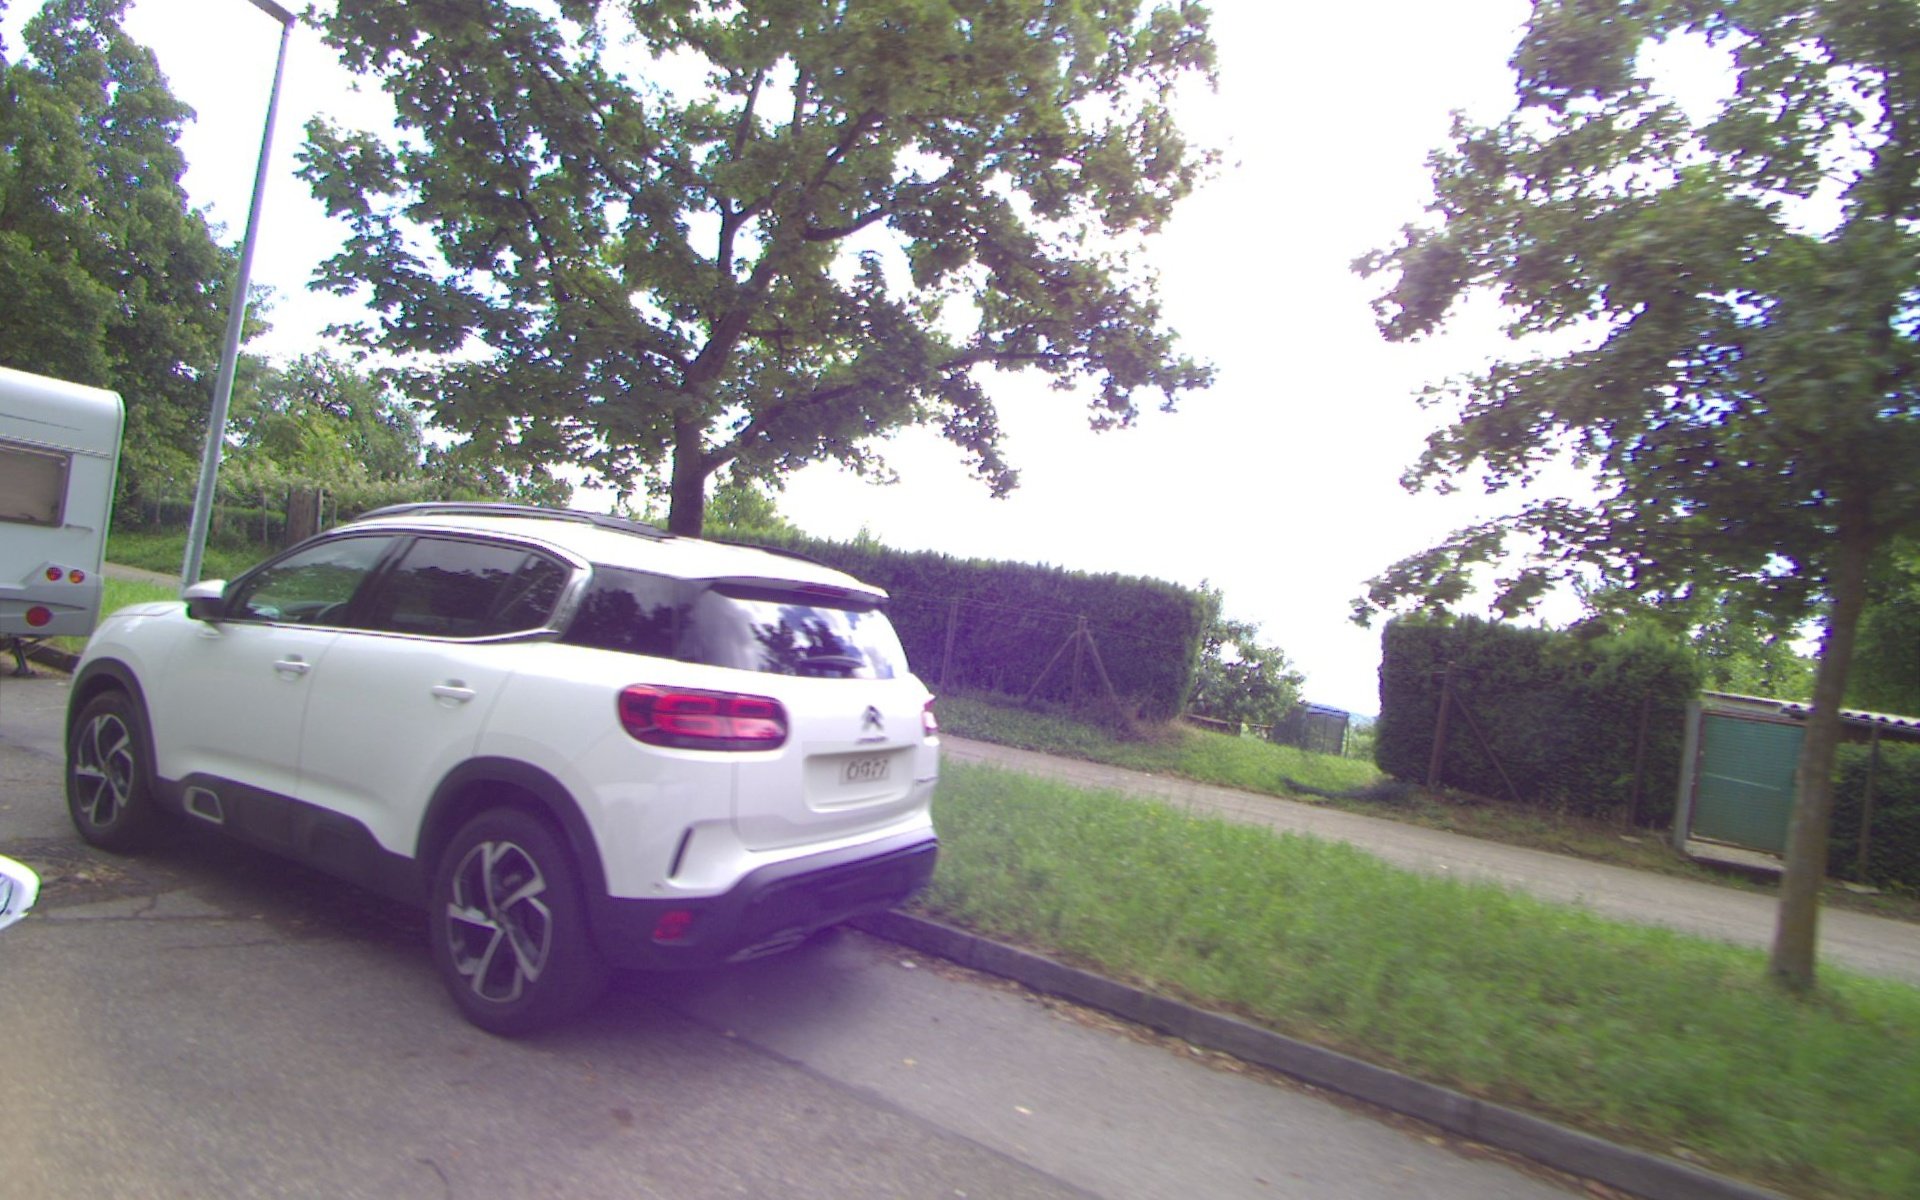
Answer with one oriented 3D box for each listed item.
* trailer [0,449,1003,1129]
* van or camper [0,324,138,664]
[{"bbox_3d":[-2.318,0.412,4.602,4.570,1.752,1.776,6,0,28],"label":"trailer"},{"bbox_3d":[-10.185,-1.168,8.784,5.925,2.565,2.168,7,-2,26],"label":"van or camper"}]
